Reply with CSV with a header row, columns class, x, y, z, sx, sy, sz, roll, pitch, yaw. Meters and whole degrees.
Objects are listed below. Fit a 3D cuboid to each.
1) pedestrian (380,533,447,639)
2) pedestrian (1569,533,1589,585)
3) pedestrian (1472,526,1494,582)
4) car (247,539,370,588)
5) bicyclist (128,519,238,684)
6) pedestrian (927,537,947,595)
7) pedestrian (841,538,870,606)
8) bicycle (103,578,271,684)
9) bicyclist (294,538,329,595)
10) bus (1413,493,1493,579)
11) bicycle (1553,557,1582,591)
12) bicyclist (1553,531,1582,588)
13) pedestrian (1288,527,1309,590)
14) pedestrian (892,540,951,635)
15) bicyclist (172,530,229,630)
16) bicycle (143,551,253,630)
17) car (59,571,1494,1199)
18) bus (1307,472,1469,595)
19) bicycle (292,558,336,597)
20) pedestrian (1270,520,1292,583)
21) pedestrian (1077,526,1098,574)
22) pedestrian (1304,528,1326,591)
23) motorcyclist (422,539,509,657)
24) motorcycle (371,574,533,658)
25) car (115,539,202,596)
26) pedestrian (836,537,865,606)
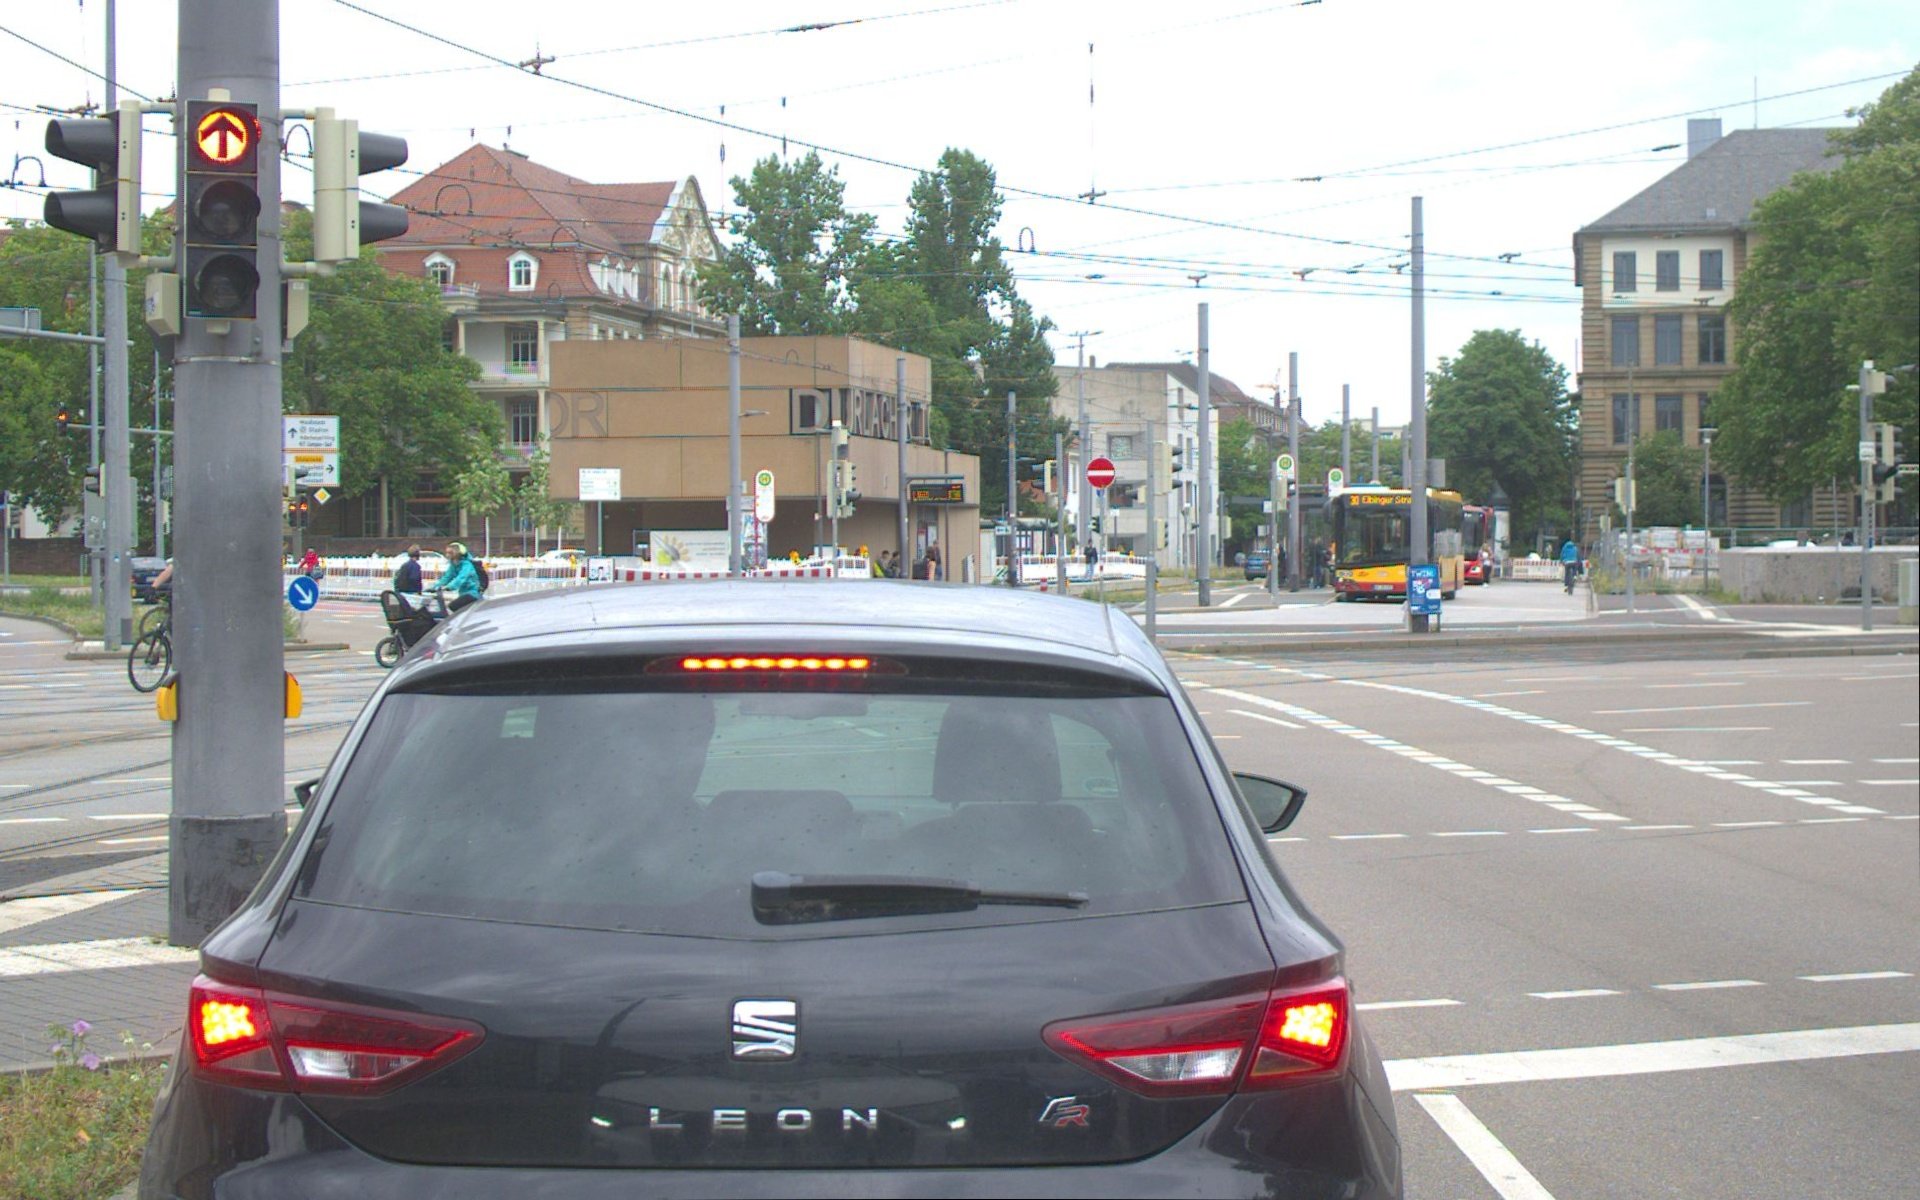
class,x,y,z,sx,sy,sz,roll,pitch,yaw
pedestrian,-10.059,-0.258,63.269,1.027,1.927,0.701,-1,1,-25
pedestrian,24.252,-1.611,134.644,0.662,2.007,0.692,0,1,0
pedestrian,18.805,-1.638,123.574,0.662,2.007,0.692,0,1,0
car,-23.307,-1.288,123.035,3.987,1.678,2.000,-1,0,1
bicyclist,-9.052,0.010,40.077,0.776,1.891,0.995,0,1,28
pedestrian,-0.755,-1.138,113.650,0.621,1.911,0.710,0,1,3
pedestrian,-2.961,-0.804,97.376,0.708,1.911,0.623,0,1,7
bicycle,-9.006,0.348,40.150,0.776,1.180,2.029,0,1,28
bicyclist,-19.905,-1.034,105.535,0.882,1.726,0.894,0,1,-22
bus,19.659,-2.551,136.667,2.655,3.272,10.990,0,1,11
bicycle,19.807,-0.850,112.087,0.866,1.101,2.301,0,1,12
bicyclist,19.858,-1.338,112.356,0.872,1.845,1.047,0,1,12
pedestrian,10.395,-1.270,105.635,0.621,1.911,0.710,0,1,3
pedestrian,-0.778,-0.265,70.304,0.700,1.927,1.028,0,1,38
bicyclist,-12.871,-0.345,58.269,0.854,1.667,0.654,-1,1,-19
bicycle,-12.914,-0.171,58.257,1.730,1.317,0.645,-1,1,-20
car,-0.354,0.691,5.998,1.704,1.444,3.813,0,1,-4
bus,11.754,-1.796,93.456,2.962,3.112,11.531,0,1,14
bicycle,-19.813,-0.707,105.336,0.891,1.174,2.302,0,1,-22
pedestrian,9.709,-1.472,103.971,0.621,1.911,0.698,0,1,9
pedestrian,5.102,-2.001,137.560,0.622,1.911,0.709,-1,0,25
pedestrian,10.800,-1.245,104.548,0.621,1.911,0.698,0,1,9
motorcyclist,-6.979,-0.030,48.499,0.977,1.644,0.750,-1,0,-33
motorcycle,-7.140,0.220,48.377,2.135,1.135,0.744,-1,1,-33
car,-24.452,-0.970,104.765,1.993,1.678,4.001,0,0,-22
pedestrian,-3.083,-0.806,96.580,0.708,1.911,0.623,0,1,7
